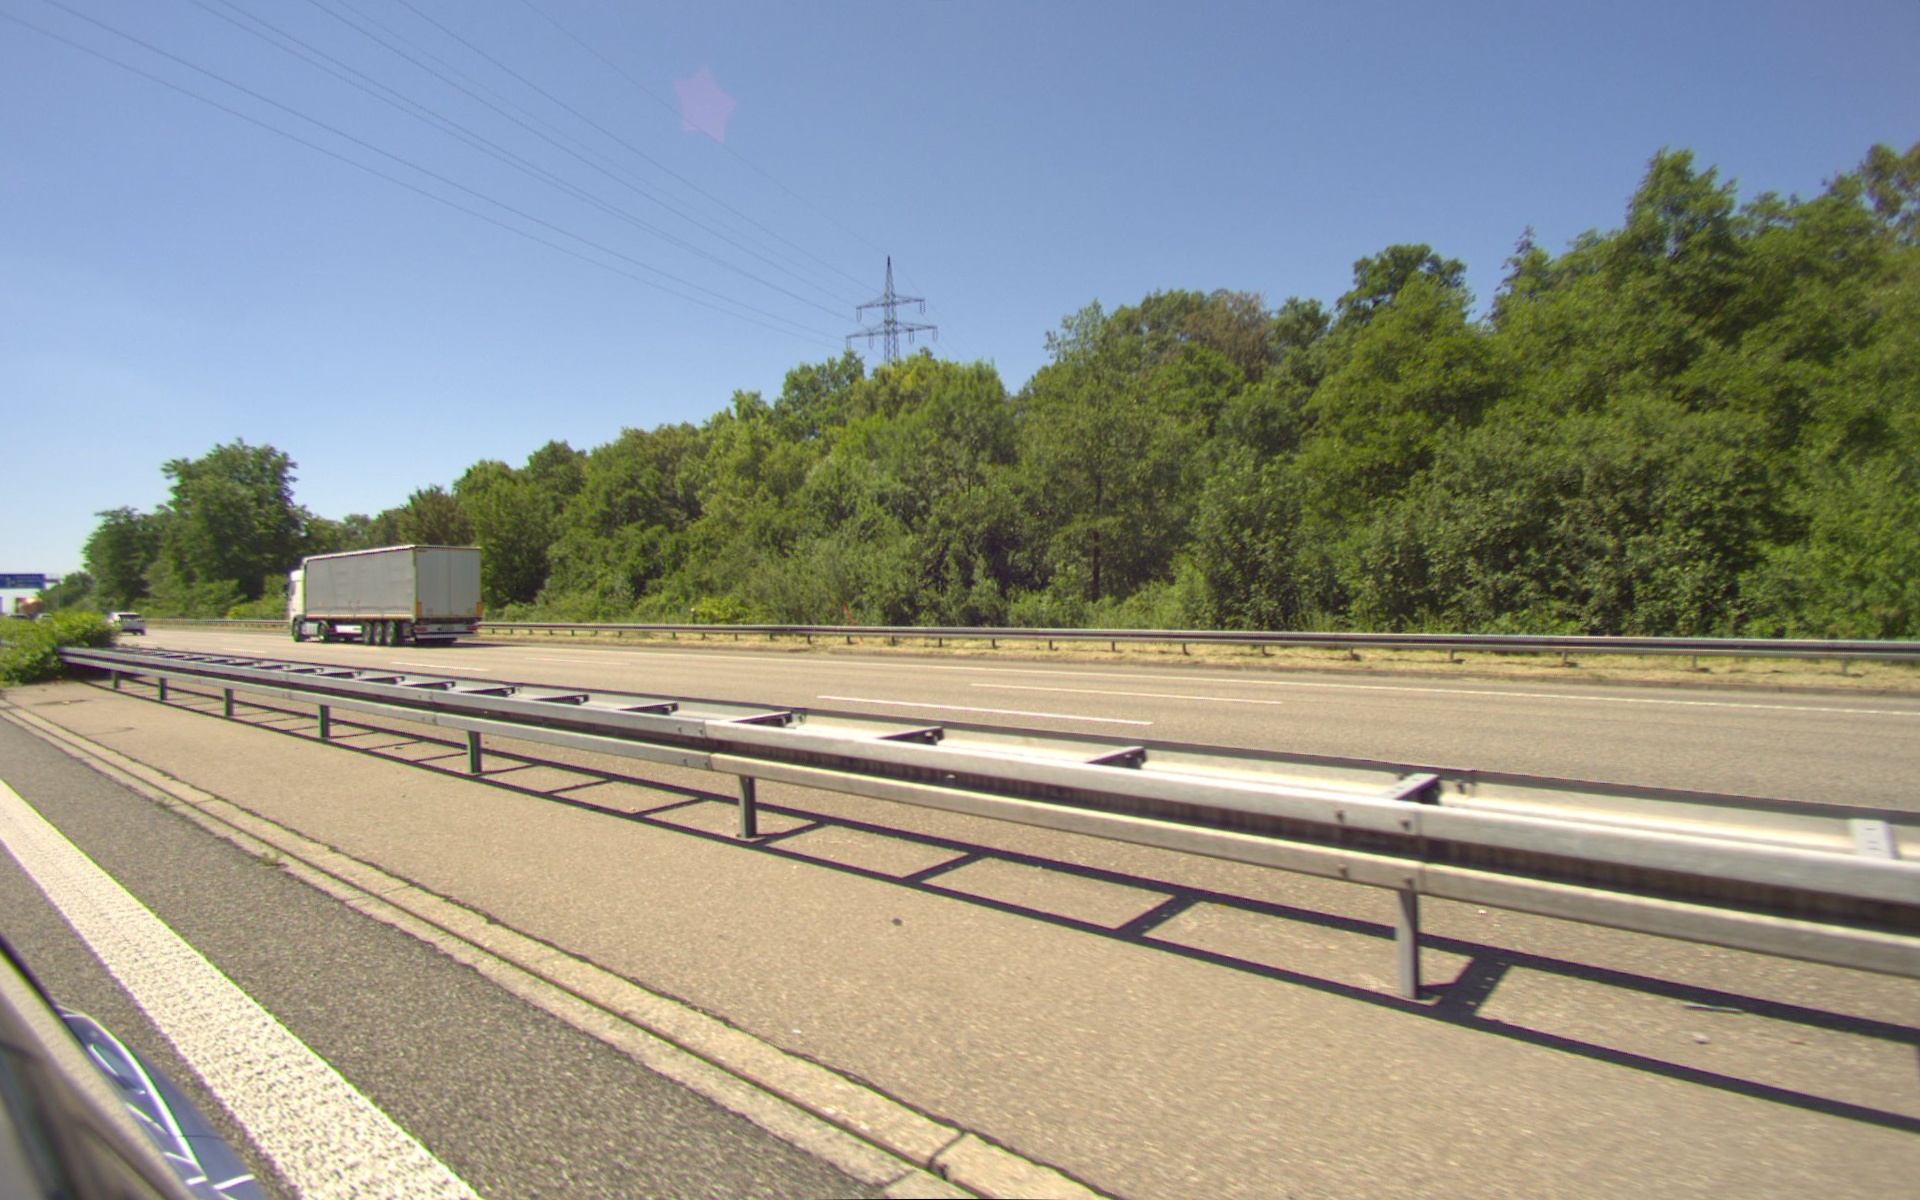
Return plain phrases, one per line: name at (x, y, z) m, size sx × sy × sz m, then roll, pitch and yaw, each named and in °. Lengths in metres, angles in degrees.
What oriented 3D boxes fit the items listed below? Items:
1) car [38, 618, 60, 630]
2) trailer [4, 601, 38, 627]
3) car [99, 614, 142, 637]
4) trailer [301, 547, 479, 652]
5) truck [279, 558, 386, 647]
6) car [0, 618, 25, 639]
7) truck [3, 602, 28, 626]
car at (-120.868, 3.192, 134.260) m, size 3.999 × 1.490 × 1.702 m, roll -1°, pitch -1°, yaw 42°
trailer at (-135.900, 1.999, 146.403) m, size 14.218 × 3.623 × 2.346 m, roll -1°, pitch -1°, yaw 42°
car at (-54.653, 1.661, 65.844) m, size 4.123 × 1.465 × 1.647 m, roll -1°, pitch -1°, yaw 43°
trailer at (-25.167, 0.084, 44.105) m, size 13.661 × 3.996 × 2.642 m, roll -1°, pitch -1°, yaw 43°
truck at (-30.308, 0.177, 48.793) m, size 6.552 × 4.015 × 2.632 m, roll -1°, pitch -1°, yaw 42°
car at (-69.945, 2.065, 74.269) m, size 4.123 × 1.465 × 1.647 m, roll -1°, pitch -1°, yaw 43°
truck at (-141.065, 2.103, 151.125) m, size 4.163 × 3.629 × 2.332 m, roll -1°, pitch -1°, yaw 42°
